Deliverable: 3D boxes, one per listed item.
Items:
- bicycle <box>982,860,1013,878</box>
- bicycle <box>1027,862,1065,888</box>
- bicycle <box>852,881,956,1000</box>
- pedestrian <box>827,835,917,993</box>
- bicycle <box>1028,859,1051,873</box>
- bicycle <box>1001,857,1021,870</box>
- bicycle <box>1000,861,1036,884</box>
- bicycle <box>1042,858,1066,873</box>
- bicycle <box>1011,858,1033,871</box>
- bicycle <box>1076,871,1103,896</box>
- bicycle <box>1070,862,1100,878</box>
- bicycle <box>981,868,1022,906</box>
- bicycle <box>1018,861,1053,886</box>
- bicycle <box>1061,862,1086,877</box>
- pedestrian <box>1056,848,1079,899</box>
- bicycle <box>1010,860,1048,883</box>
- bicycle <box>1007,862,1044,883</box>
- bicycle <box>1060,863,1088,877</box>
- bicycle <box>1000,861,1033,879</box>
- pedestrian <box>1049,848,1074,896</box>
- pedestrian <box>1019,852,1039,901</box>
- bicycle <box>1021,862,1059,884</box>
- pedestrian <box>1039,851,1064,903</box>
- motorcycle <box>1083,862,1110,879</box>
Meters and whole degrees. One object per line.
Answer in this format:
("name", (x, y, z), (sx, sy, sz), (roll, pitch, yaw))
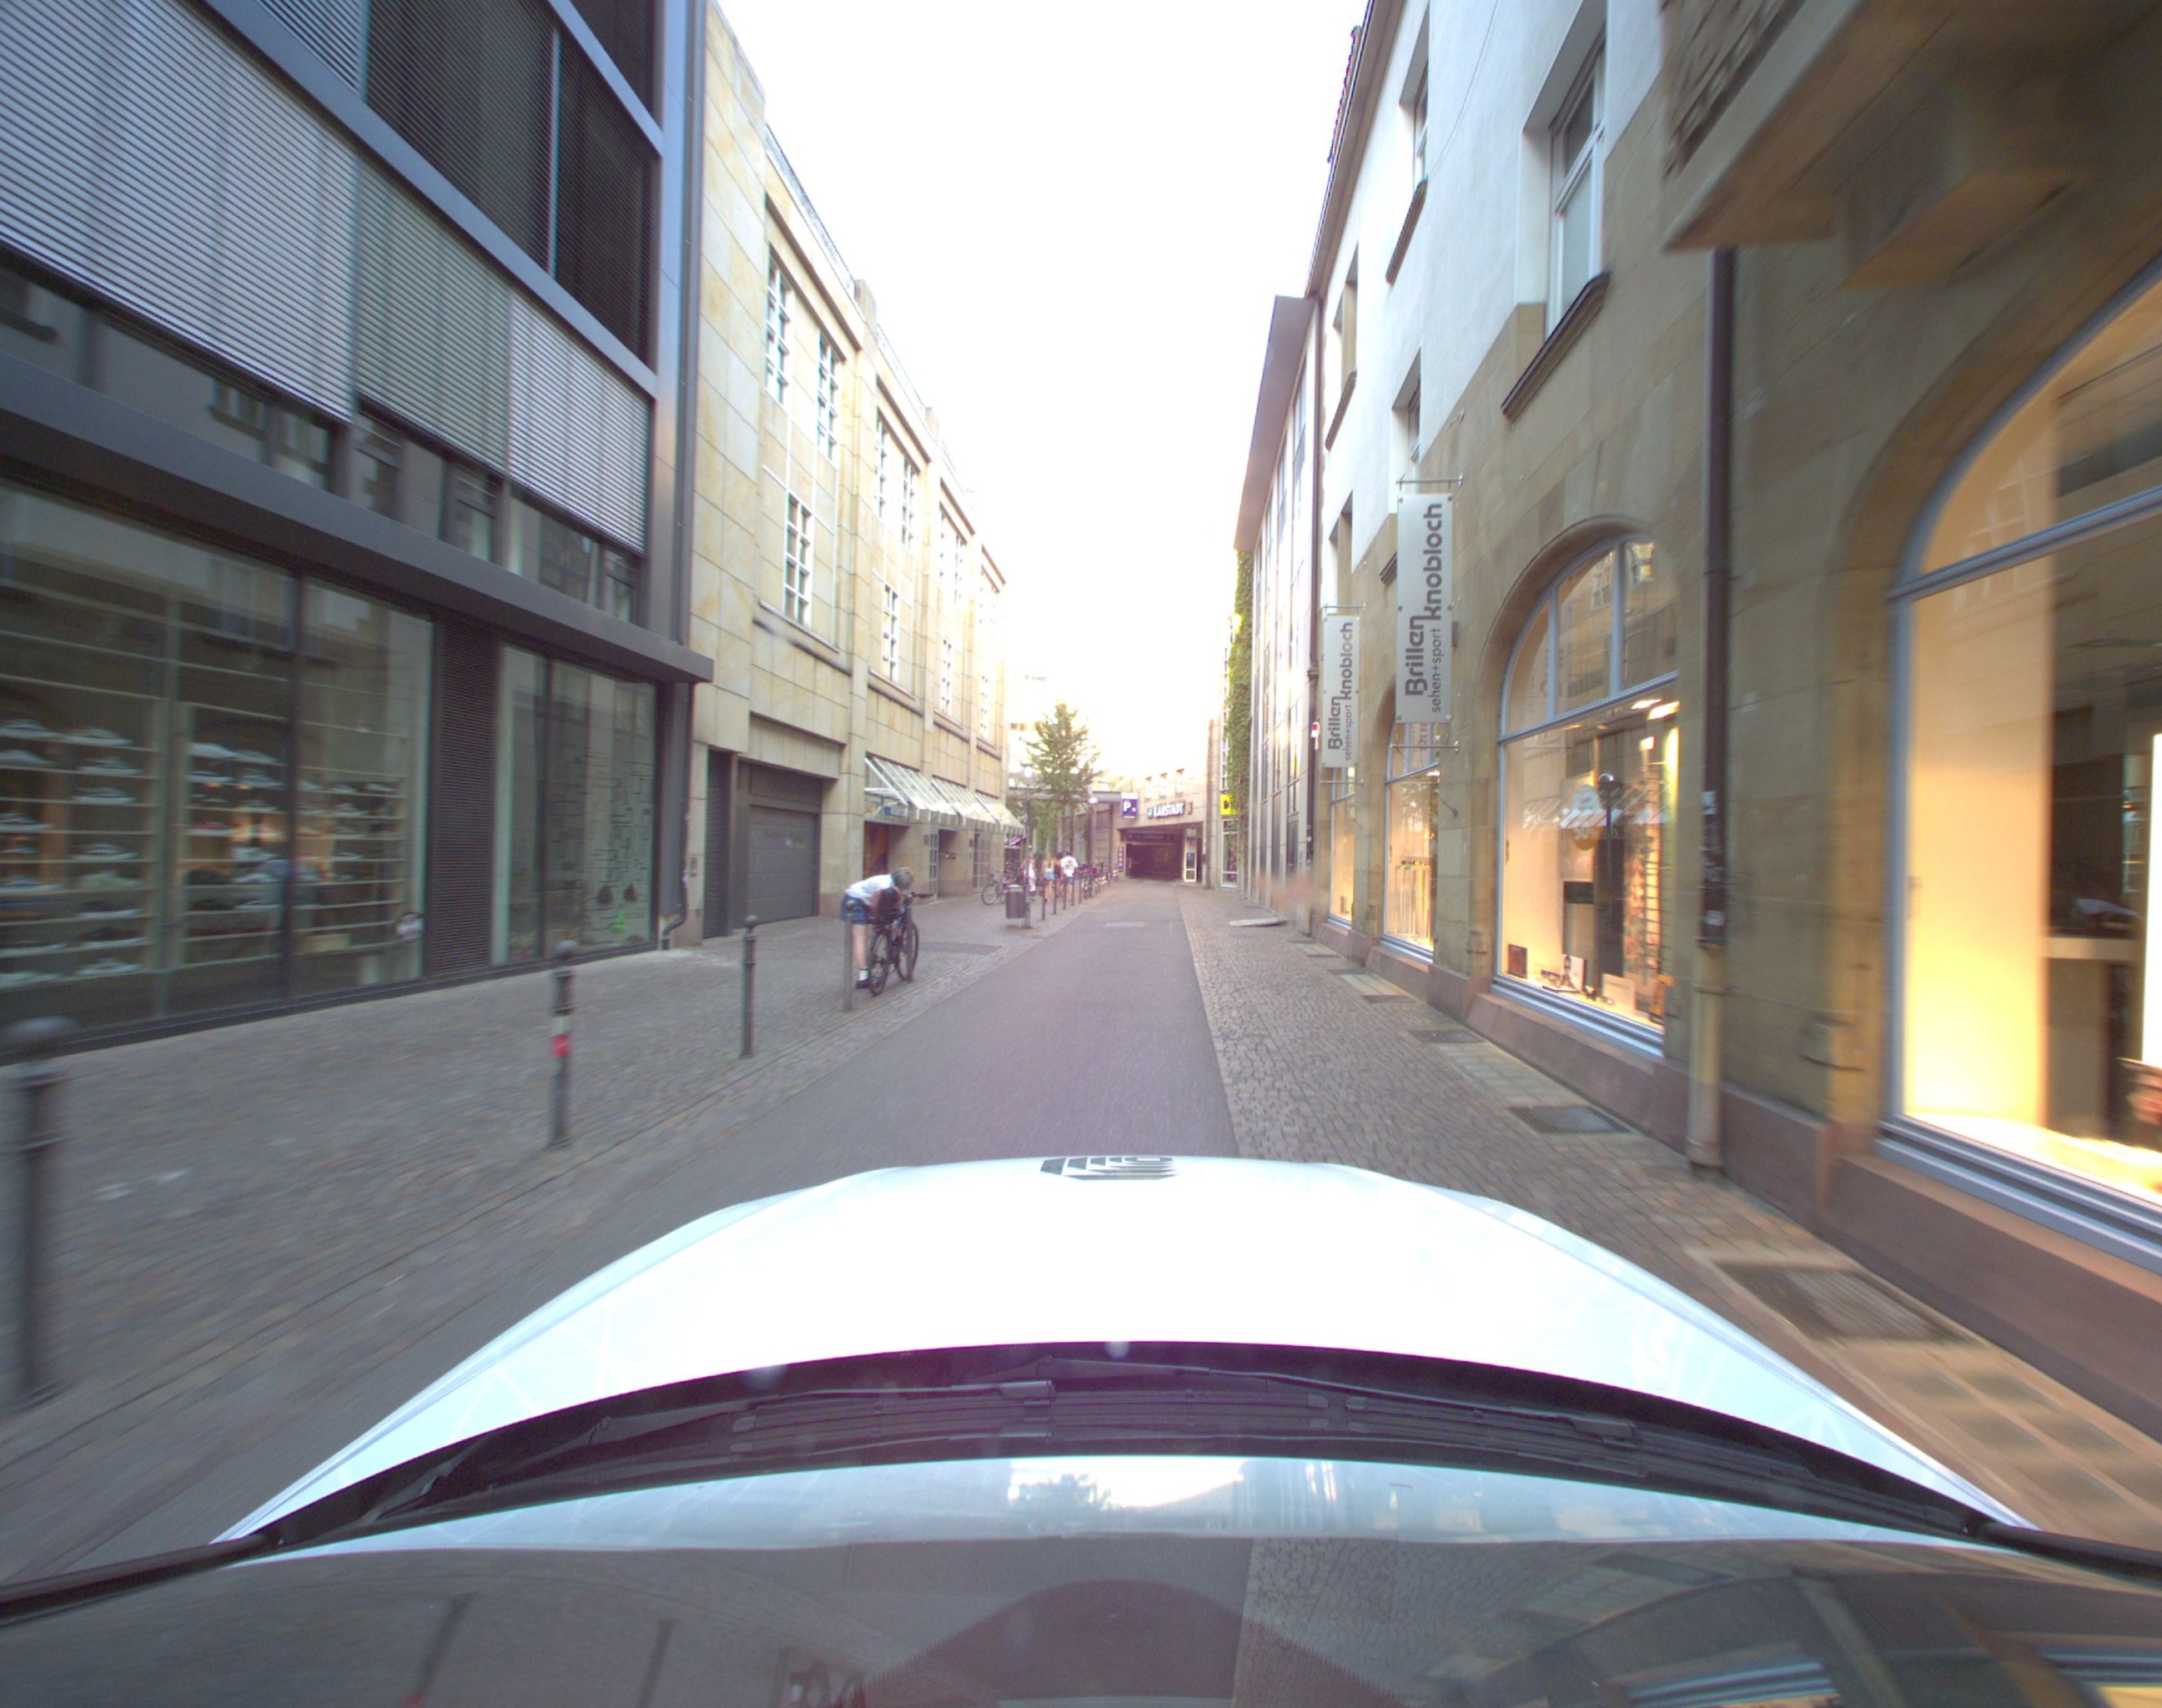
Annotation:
("bicycle", (-5.033, 0.914, 49.267), (1.829, 1.043, 0.531), (0, 0, -17))
("bicycle", (-1.673, 0.998, 39.065), (1.771, 1.231, 0.531), (0, 0, -17))
("bicycle", (-1.994, 0.931, 9.467), (0.530, 1.153, 1.918), (2, 0, 7))
("pedestrian", (-2.380, 0.660, 9.329), (0.764, 1.718, 0.592), (2, 0, 5))
("bicycle", (-3.265, 0.941, 64.018), (1.776, 1.114, 0.540), (0, 0, -15))
("bicycle", (-6.444, 0.869, 75.307), (1.776, 1.190, 0.583), (0, 0, -15))
("bicycle", (-3.374, 0.981, 43.557), (1.838, 1.225, 0.531), (0, 0, -17))
("bicycle", (-2.044, 0.872, 61.649), (1.776, 1.114, 0.540), (0, 0, -15))
("bicycle", (-5.066, 0.900, 69.973), (1.775, 1.114, 0.540), (0, 0, -13))
("bicycle", (0.344, 1.175, 32.417), (0.489, 0.939, 1.667), (2, 0, 20))
("bicycle", (0.264, 1.040, 52.756), (1.851, 0.982, 0.461), (0, 0, -15))
("bicycle", (-2.509, 1.015, 25.809), (0.517, 1.138, 1.774), (0, 0, 22))
("bicycle", (-2.262, 0.953, 40.399), (1.658, 1.231, 0.531), (0, 0, -17))
("bicycle", (-0.502, 1.037, 54.630), (1.542, 1.049, 0.572), (0, 0, -15))
("pedestrian", (-0.496, 0.716, 29.696), (0.739, 1.822, 0.879), (0, 0, 4))
("bicycle", (-2.697, 0.900, 42.291), (1.877, 1.177, 0.531), (0, 0, -17))
("bicycle", (-2.924, 0.977, 42.842), (1.899, 1.052, 0.531), (0, 0, -17))
("bicycle", (-0.447, 1.031, 53.671), (1.776, 0.904, 0.461), (0, 0, -15))
("bicycle", (-3.766, 0.929, 47.393), (1.881, 1.043, 0.531), (0, 0, -17))
("pedestrian", (-0.732, 0.673, 30.832), (0.781, 1.795, 0.974), (0, 0, 7))
("pedestrian", (-1.779, 0.755, 27.930), (0.673, 1.664, 0.859), (1, 0, -3))
("bicycle", (-2.063, 0.959, 41.279), (1.841, 1.122, 0.531), (0, 0, -17))
("pedestrian", (-1.000, 0.778, 27.806), (0.805, 1.729, 0.947), (1, 0, -4))
("motorcycle", (0.975, 1.041, 51.062), (1.666, 1.050, 0.461), (0, 0, -15))
